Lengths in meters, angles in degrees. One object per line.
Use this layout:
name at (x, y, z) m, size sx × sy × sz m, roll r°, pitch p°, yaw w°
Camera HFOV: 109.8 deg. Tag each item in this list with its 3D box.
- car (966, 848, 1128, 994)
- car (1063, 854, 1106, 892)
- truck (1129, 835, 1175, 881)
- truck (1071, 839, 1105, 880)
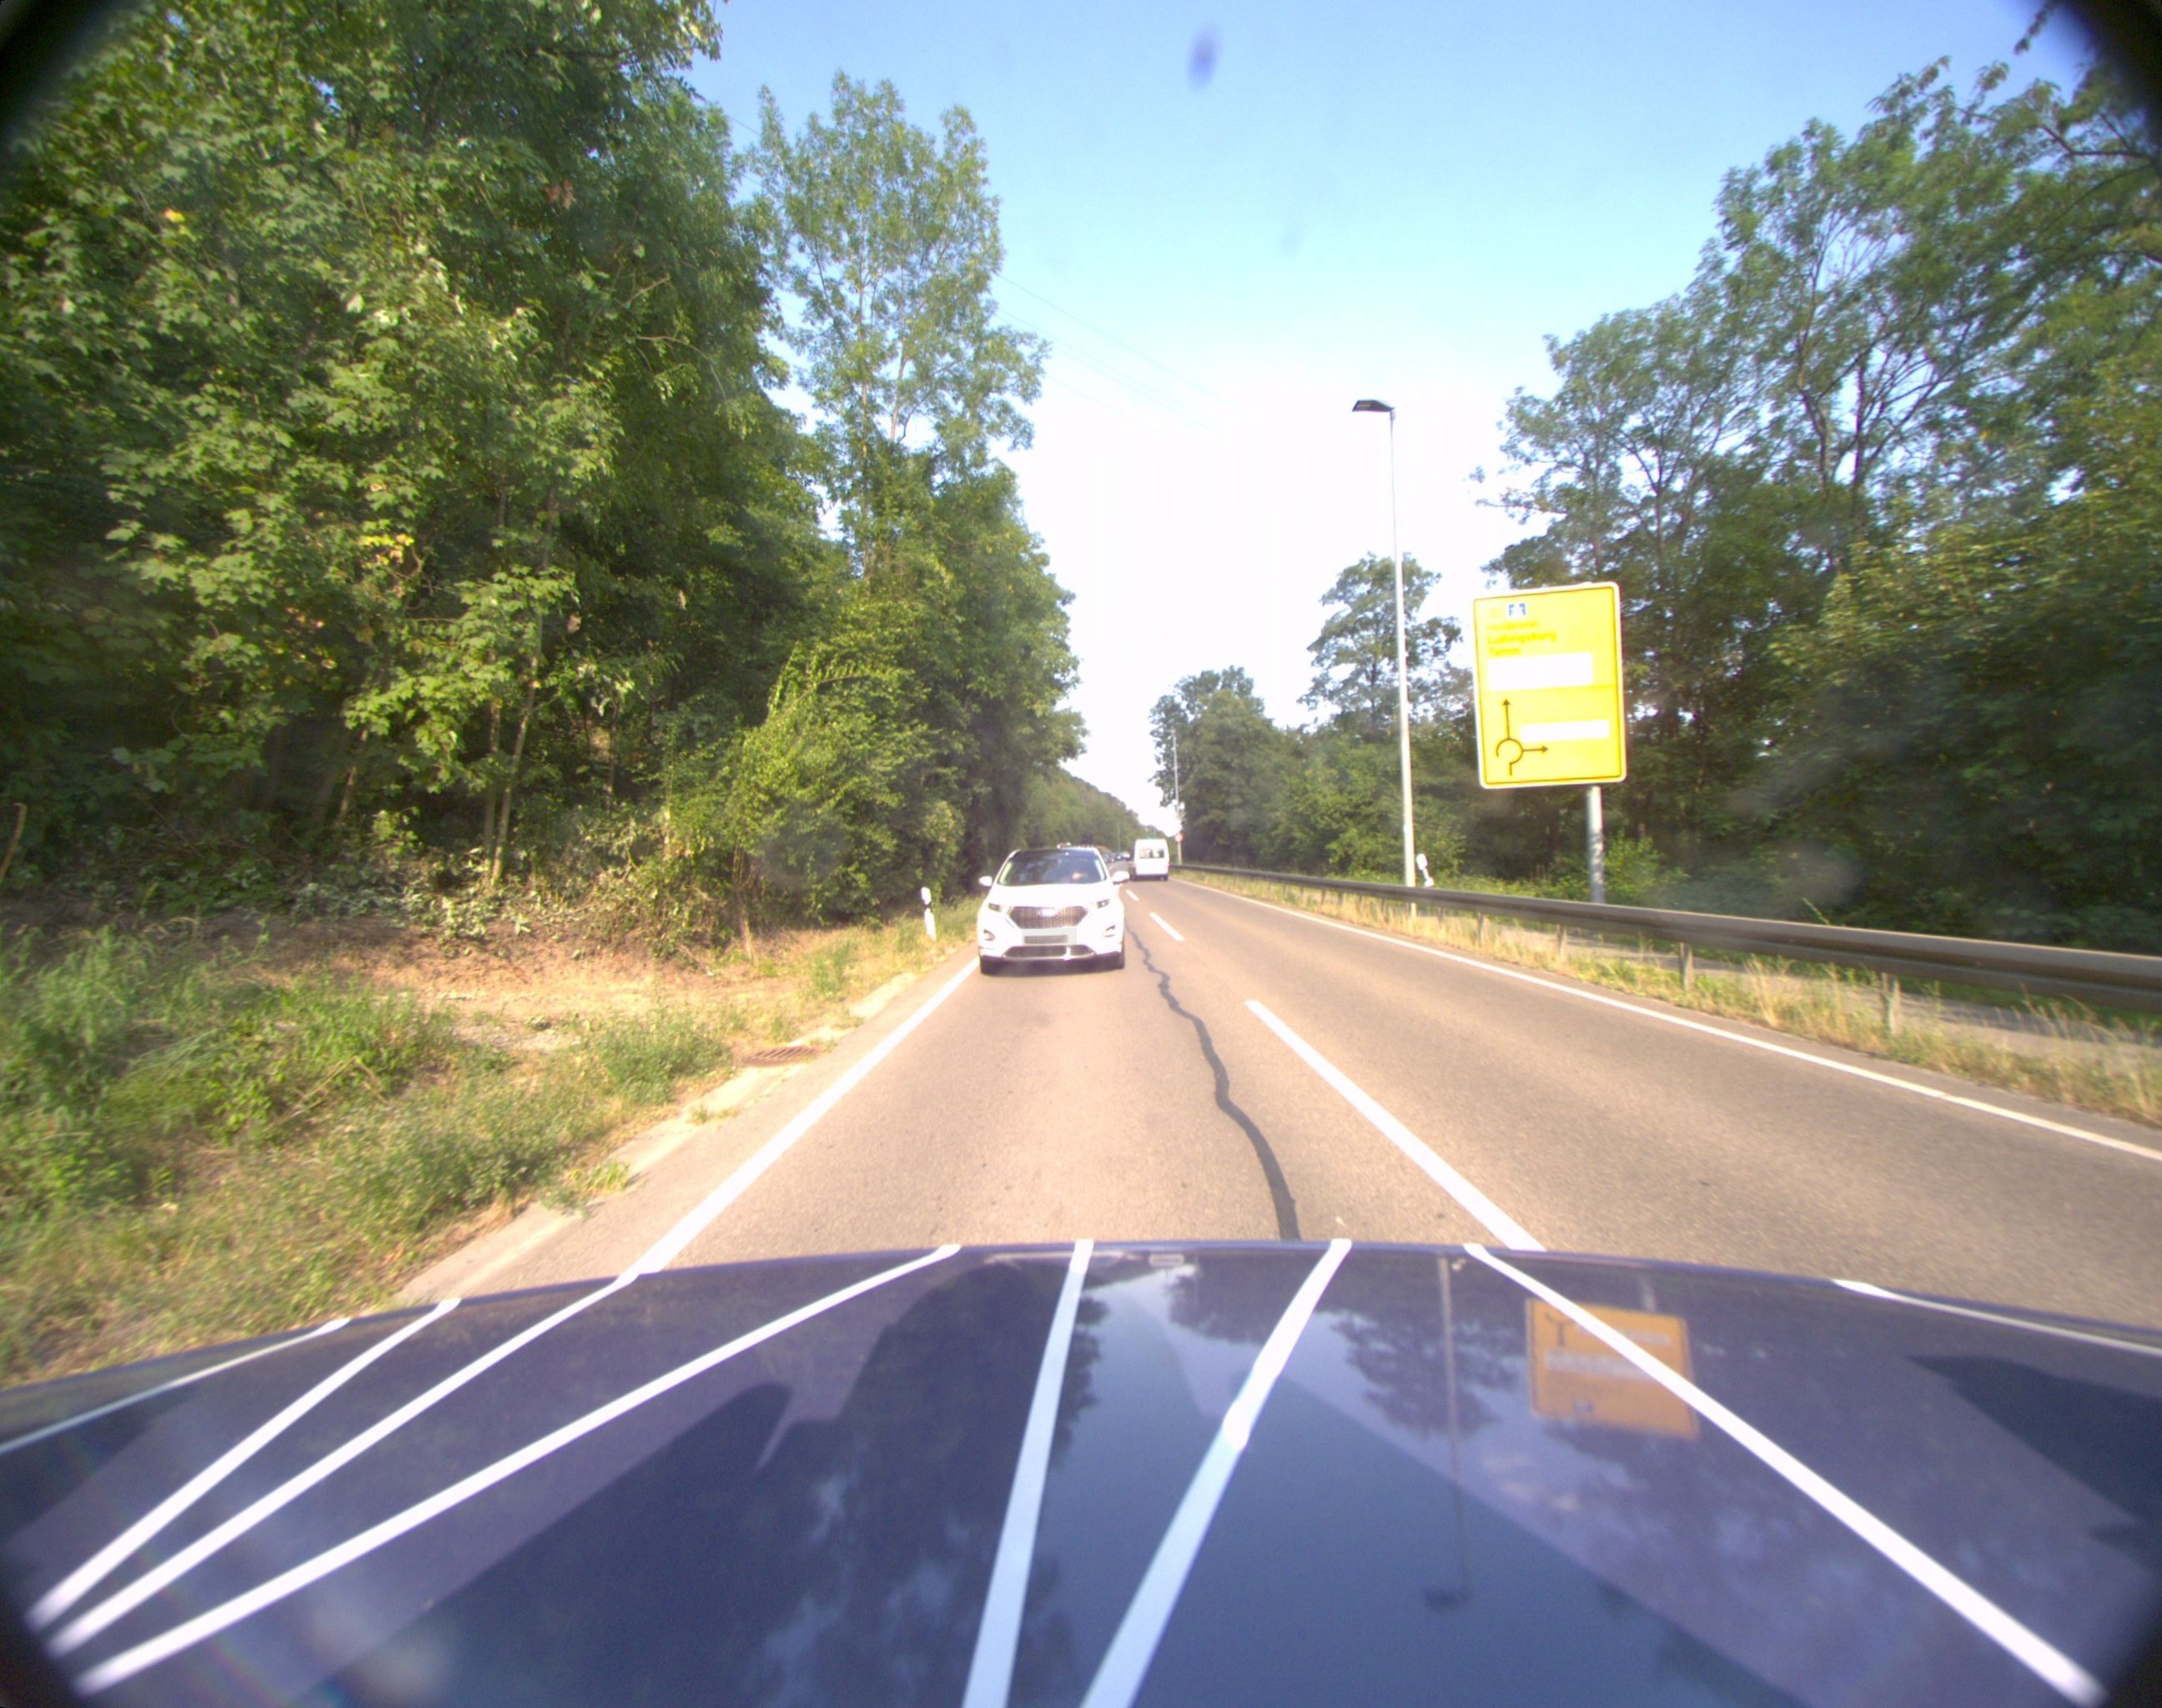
car at (-0.380, 0.806, 11.278) m, size 1.894 × 1.691 × 4.136 m, roll -2°, pitch 0°, yaw 1°
car at (0.169, 0.786, 33.463) m, size 1.704 × 1.477 × 4.136 m, roll -2°, pitch 0°, yaw 1°
truck at (3.935, 0.174, 43.334) m, size 2.062 × 2.371 × 5.872 m, roll -2°, pitch 1°, yaw 0°
truck at (0.463, 0.324, 47.851) m, size 1.894 × 2.334 × 5.273 m, roll -2°, pitch 0°, yaw 1°
